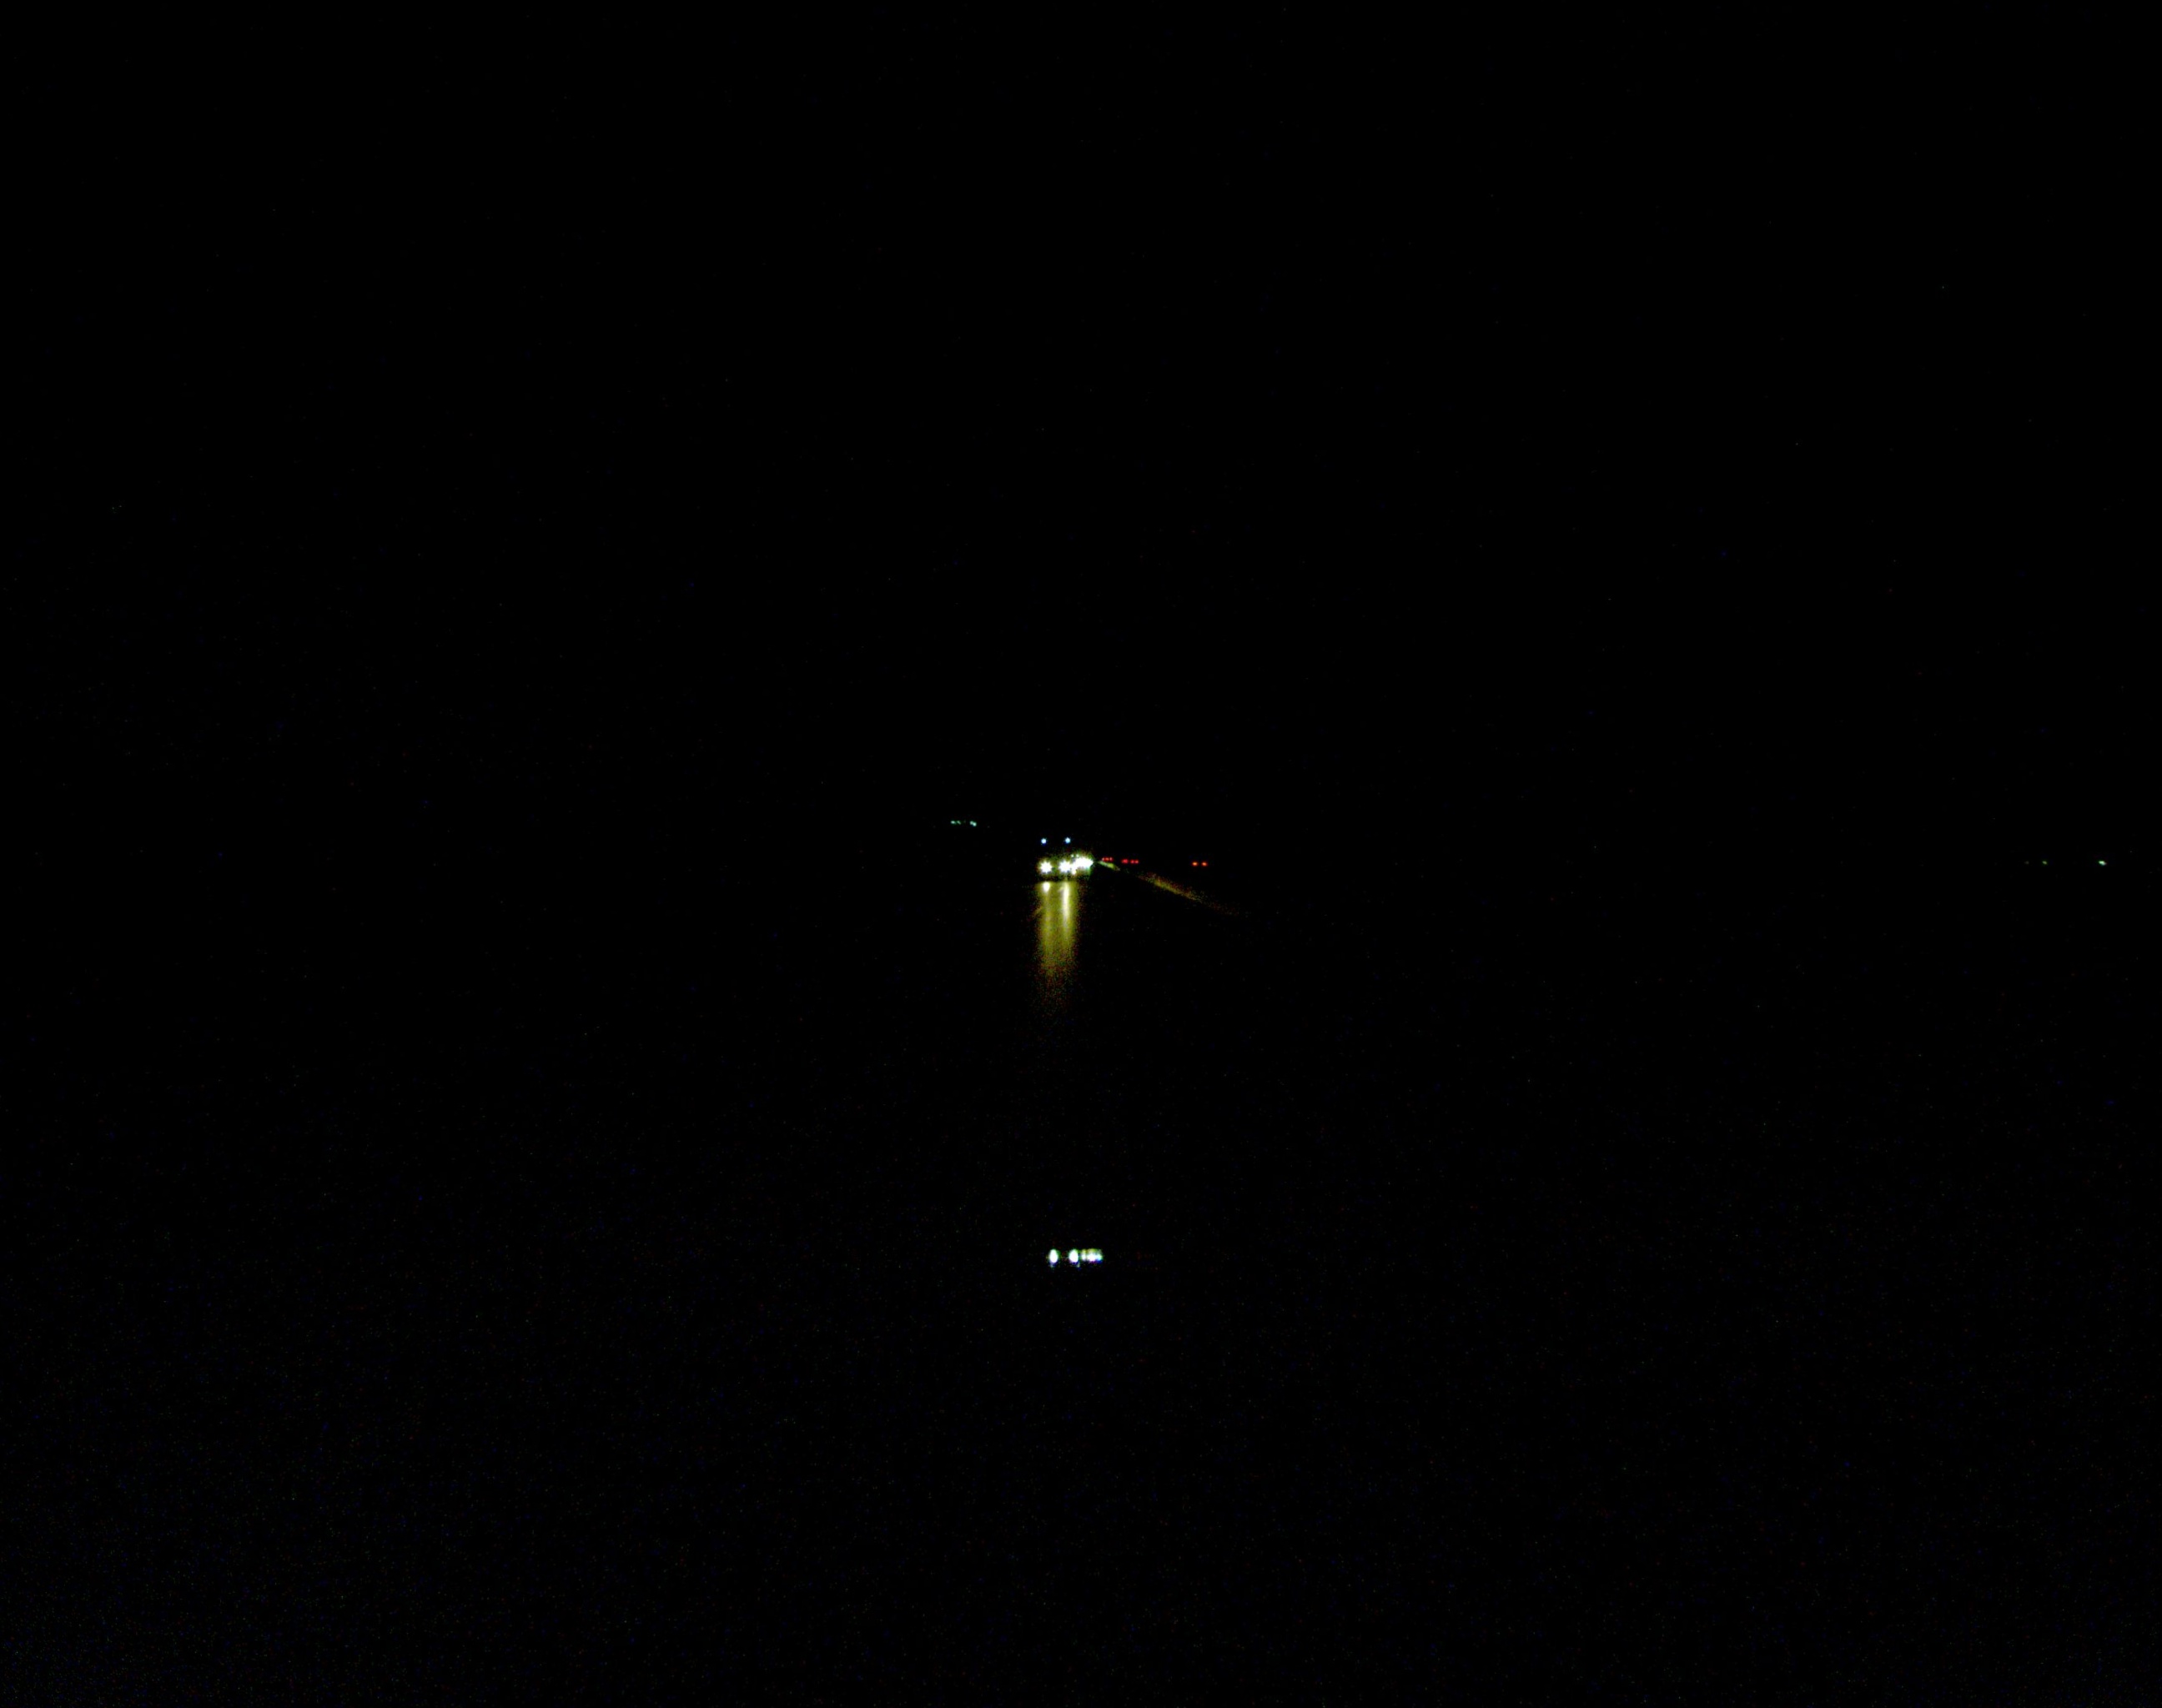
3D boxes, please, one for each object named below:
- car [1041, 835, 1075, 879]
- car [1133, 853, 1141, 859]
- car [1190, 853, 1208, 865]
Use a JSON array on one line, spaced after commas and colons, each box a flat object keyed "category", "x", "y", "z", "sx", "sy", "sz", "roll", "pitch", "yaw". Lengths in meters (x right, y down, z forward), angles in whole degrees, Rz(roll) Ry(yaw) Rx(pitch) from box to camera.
[{"category": "car", "x": -1.754, "y": 0.184, "z": 60.333, "sx": 2.255, "sy": 3.205, "sz": 6.878, "roll": -2, "pitch": 0, "yaw": 1}, {"category": "car", "x": 16.663, "y": 0.511, "z": 226.696, "sx": 1.908, "sy": 1.633, "sz": 5.298, "roll": 0, "pitch": 0, "yaw": 1}, {"category": "car", "x": 18.359, "y": 0.780, "z": 118.403, "sx": 2.050, "sy": 1.710, "sz": 4.775, "roll": 1, "pitch": 0, "yaw": 1}]
